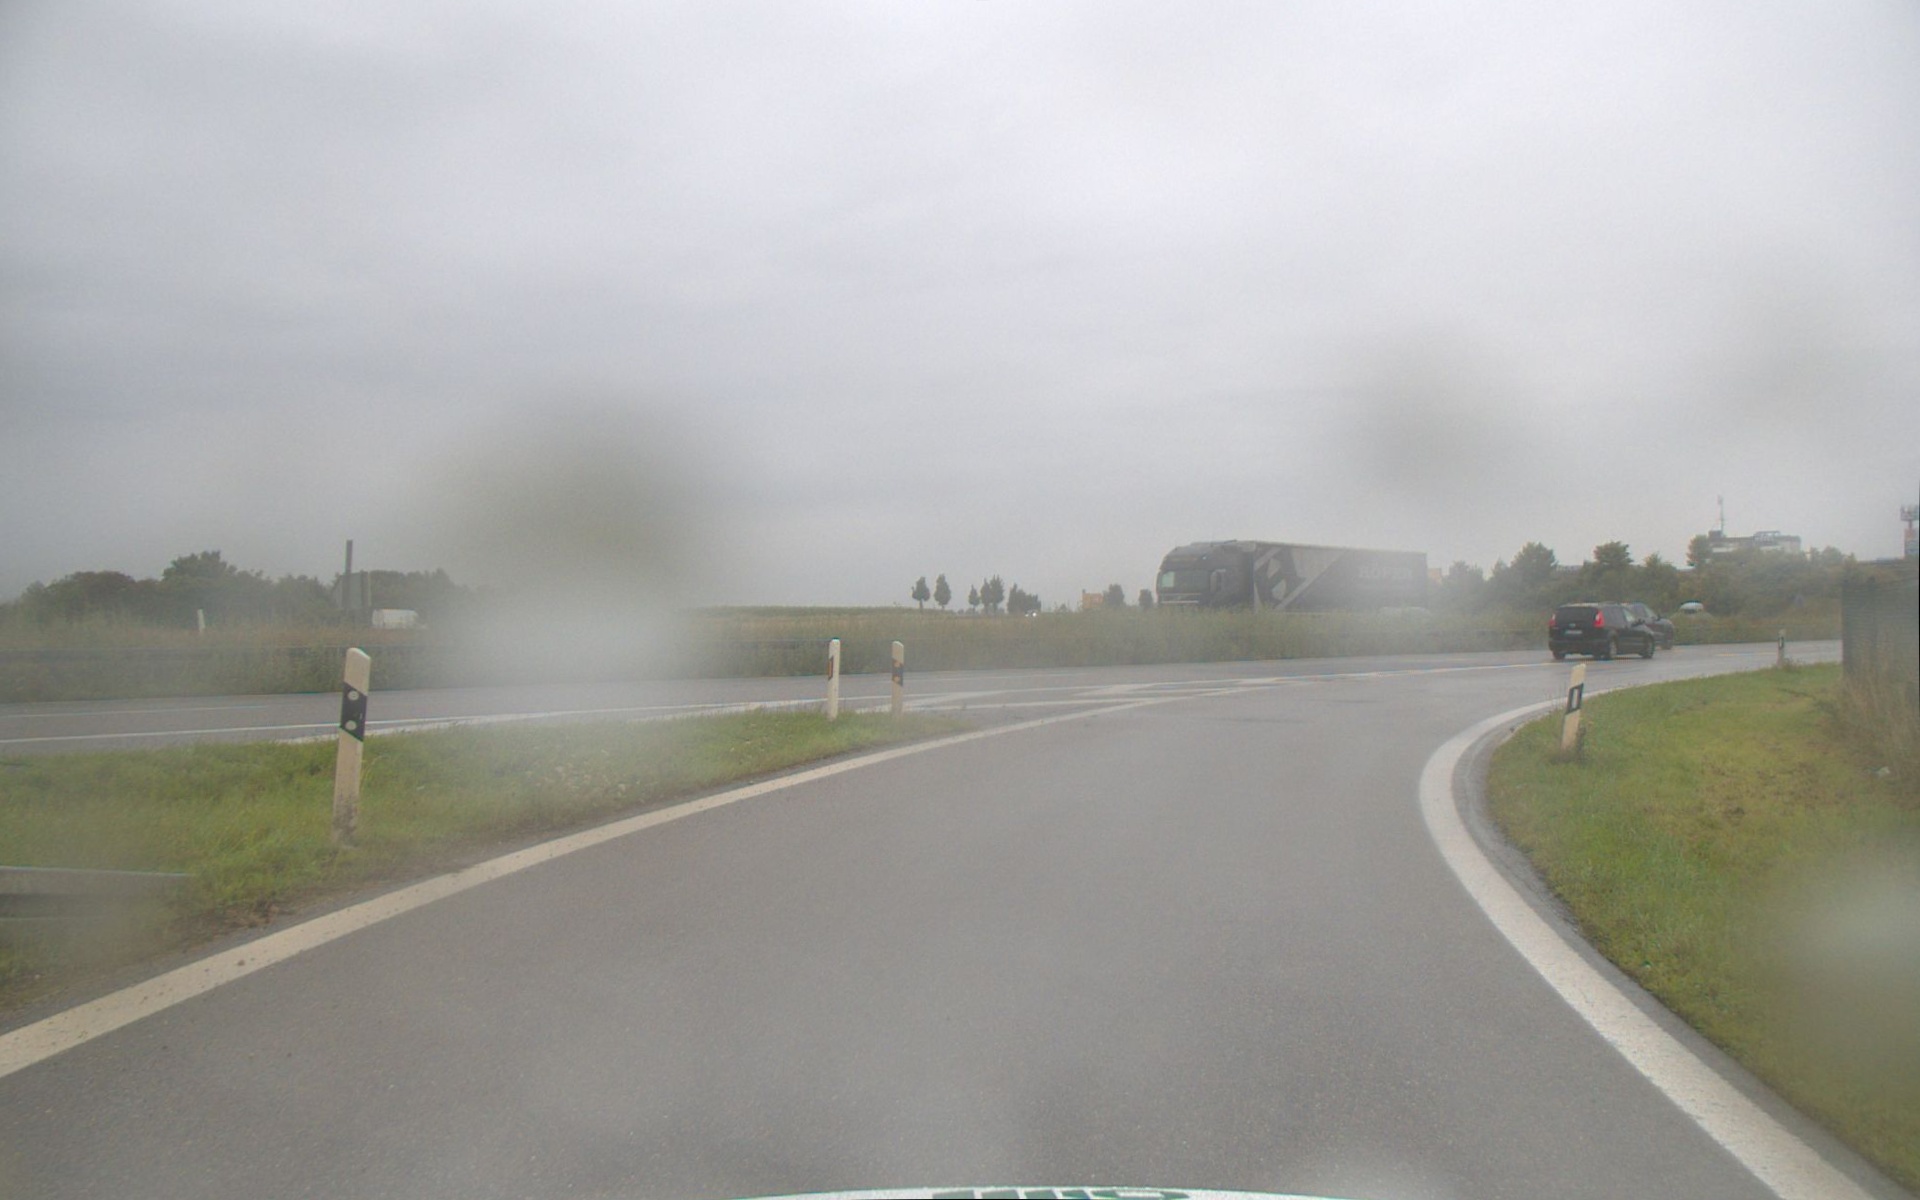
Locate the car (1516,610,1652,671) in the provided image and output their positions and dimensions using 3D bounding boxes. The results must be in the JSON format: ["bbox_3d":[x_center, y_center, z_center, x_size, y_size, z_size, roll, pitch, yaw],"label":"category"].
[{"bbox_3d":[18.220,1.162,48.207,2.116,1.665,4.563,0,-1,44],"label":"car"}]

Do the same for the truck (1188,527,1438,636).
[{"bbox_3d":[14.635,-0.680,67.252,3.151,4.035,13.718,2,1,44],"label":"truck"}]
